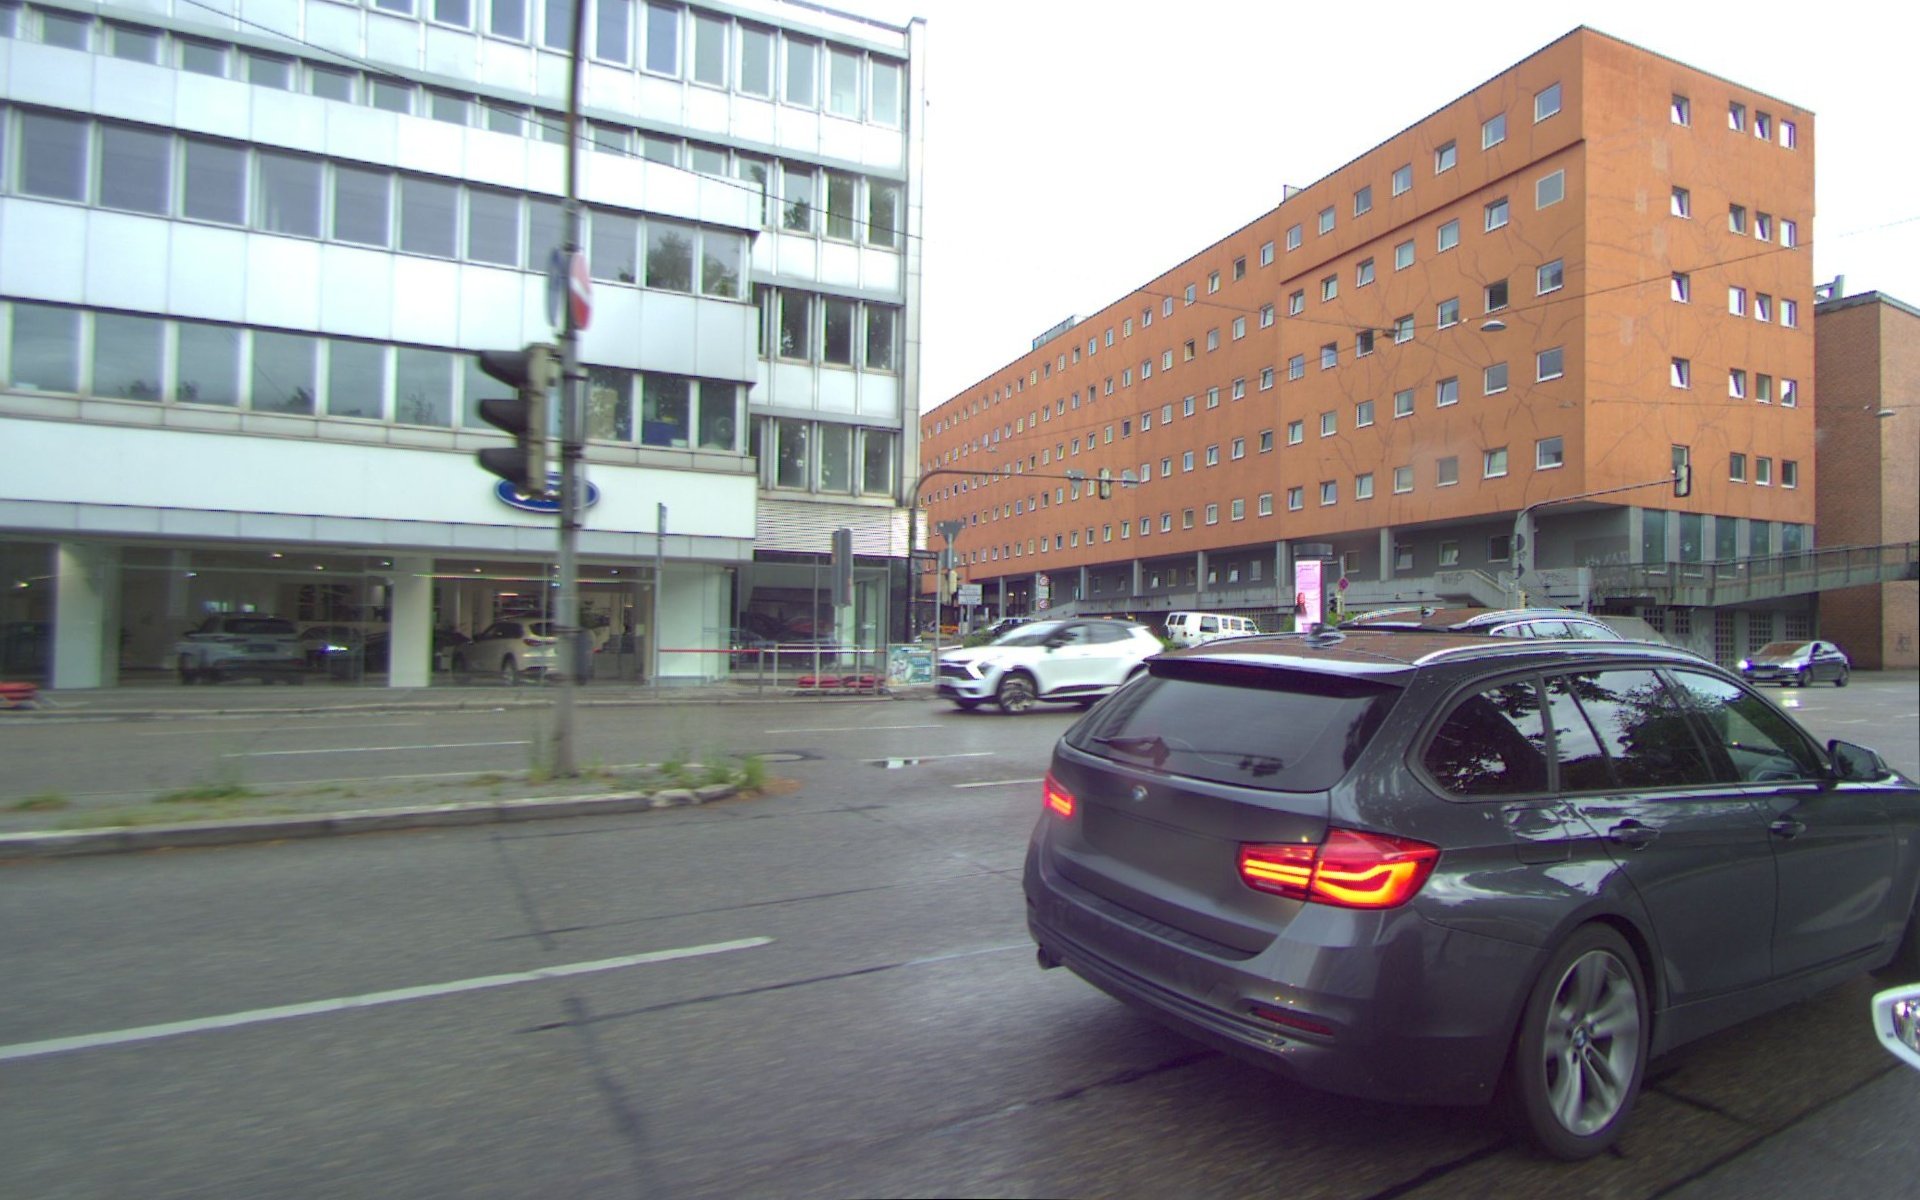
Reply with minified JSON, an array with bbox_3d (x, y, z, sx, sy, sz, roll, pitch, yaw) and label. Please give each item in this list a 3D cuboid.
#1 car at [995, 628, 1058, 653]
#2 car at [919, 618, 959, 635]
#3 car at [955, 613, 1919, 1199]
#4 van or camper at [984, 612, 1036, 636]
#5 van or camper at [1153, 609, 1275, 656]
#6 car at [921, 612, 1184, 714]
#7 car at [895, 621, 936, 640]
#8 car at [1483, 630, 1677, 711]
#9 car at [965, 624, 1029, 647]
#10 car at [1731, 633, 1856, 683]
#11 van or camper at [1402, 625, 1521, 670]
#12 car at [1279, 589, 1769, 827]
[{"bbox_3d":[3.933,2.405,59.679,3.460,1.311,1.532,2,-1,-13],"label":"car"},{"bbox_3d":[-2.264,2.888,108.443,3.840,1.643,1.768,2,1,-21],"label":"car"},{"bbox_3d":[2.333,0.844,4.073,4.425,1.477,1.768,2,-2,-30],"label":"car"},{"bbox_3d":[4.551,2.187,92.155,4.314,2.004,1.962,2,1,-24],"label":"van or camper"},{"bbox_3d":[11.972,1.522,47.224,5.378,2.004,2.120,2,1,-25],"label":"van or camper"},{"bbox_3d":[1.691,1.093,17.990,4.402,1.631,1.882,2,-1,-29],"label":"car"},{"bbox_3d":[-3.666,2.473,81.980,3.118,1.372,1.398,2,1,-12],"label":"car"},{"bbox_3d":[12.287,1.357,19.877,3.817,1.455,1.675,2,-2,-30],"label":"car"},{"bbox_3d":[2.357,2.274,64.256,3.816,1.311,1.656,2,-1,-13],"label":"car"},{"bbox_3d":[26.530,1.844,31.966,3.991,1.484,1.702,2,-2,-28],"label":"car"},{"bbox_3d":[20.031,1.866,40.277,1.888,1.649,3.976,1,-1,-24],"label":"van or camper"},{"bbox_3d":[5.165,0.838,9.085,4.391,1.678,1.801,2,1,-29],"label":"car"}]
